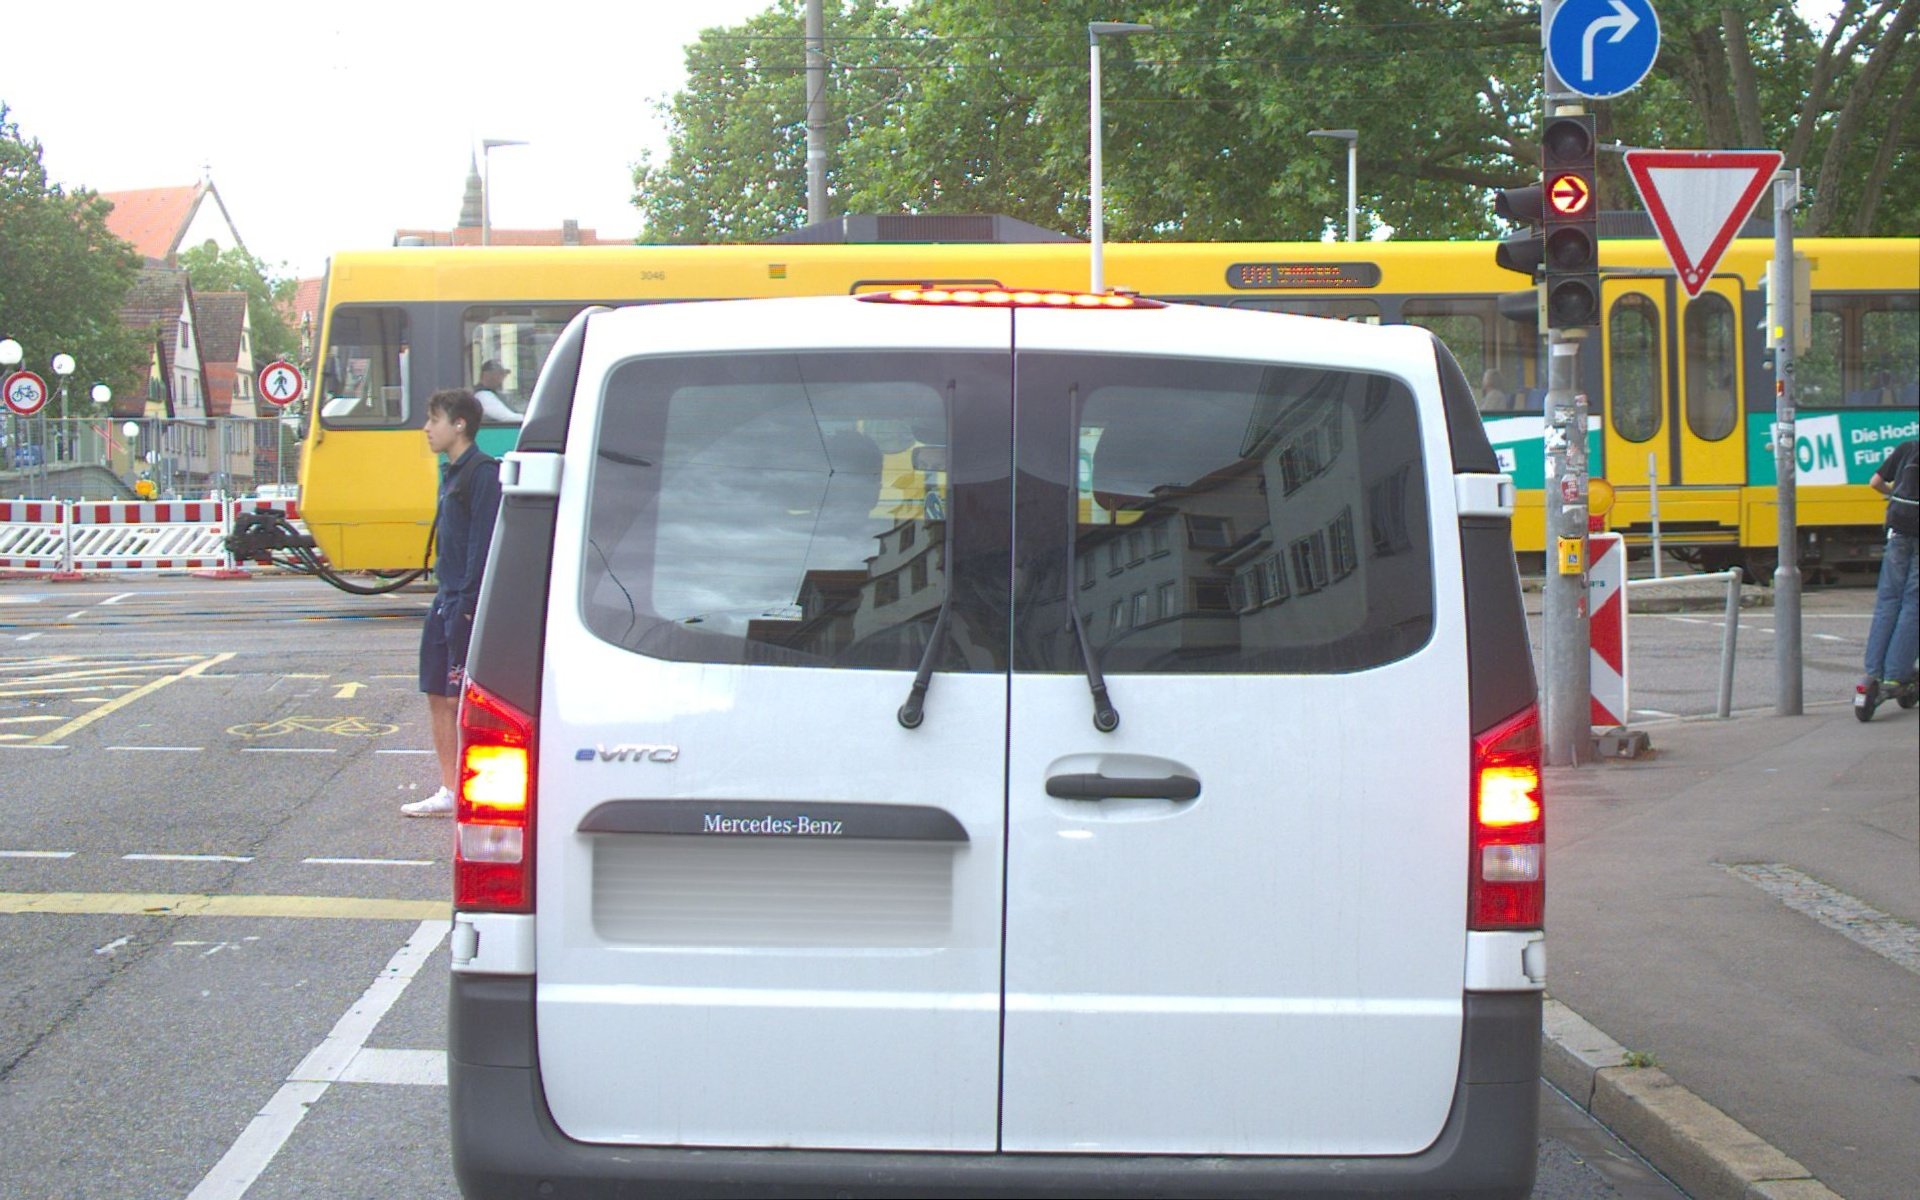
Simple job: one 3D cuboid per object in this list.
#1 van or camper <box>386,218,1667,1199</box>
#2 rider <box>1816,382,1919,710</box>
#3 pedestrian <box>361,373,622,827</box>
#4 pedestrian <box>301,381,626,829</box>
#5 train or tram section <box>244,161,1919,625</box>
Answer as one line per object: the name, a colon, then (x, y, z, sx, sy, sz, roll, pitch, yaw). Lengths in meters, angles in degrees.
van or camper: (-0.007, 0.330, 7.473, 1.937, 1.918, 4.442, 1, 2, -3)
rider: (5.488, -0.326, 19.894, 0.719, 1.841, 0.796, -3, 1, 32)
pedestrian: (-2.038, -0.003, 14.902, 1.003, 1.908, 0.625, 1, 1, -18)
pedestrian: (-2.135, -0.007, 14.835, 1.150, 1.850, 0.679, -3, 3, -40)
train or tram section: (2.891, -2.148, 34.096, 19.221, 3.988, 3.310, -2, 4, -6)
